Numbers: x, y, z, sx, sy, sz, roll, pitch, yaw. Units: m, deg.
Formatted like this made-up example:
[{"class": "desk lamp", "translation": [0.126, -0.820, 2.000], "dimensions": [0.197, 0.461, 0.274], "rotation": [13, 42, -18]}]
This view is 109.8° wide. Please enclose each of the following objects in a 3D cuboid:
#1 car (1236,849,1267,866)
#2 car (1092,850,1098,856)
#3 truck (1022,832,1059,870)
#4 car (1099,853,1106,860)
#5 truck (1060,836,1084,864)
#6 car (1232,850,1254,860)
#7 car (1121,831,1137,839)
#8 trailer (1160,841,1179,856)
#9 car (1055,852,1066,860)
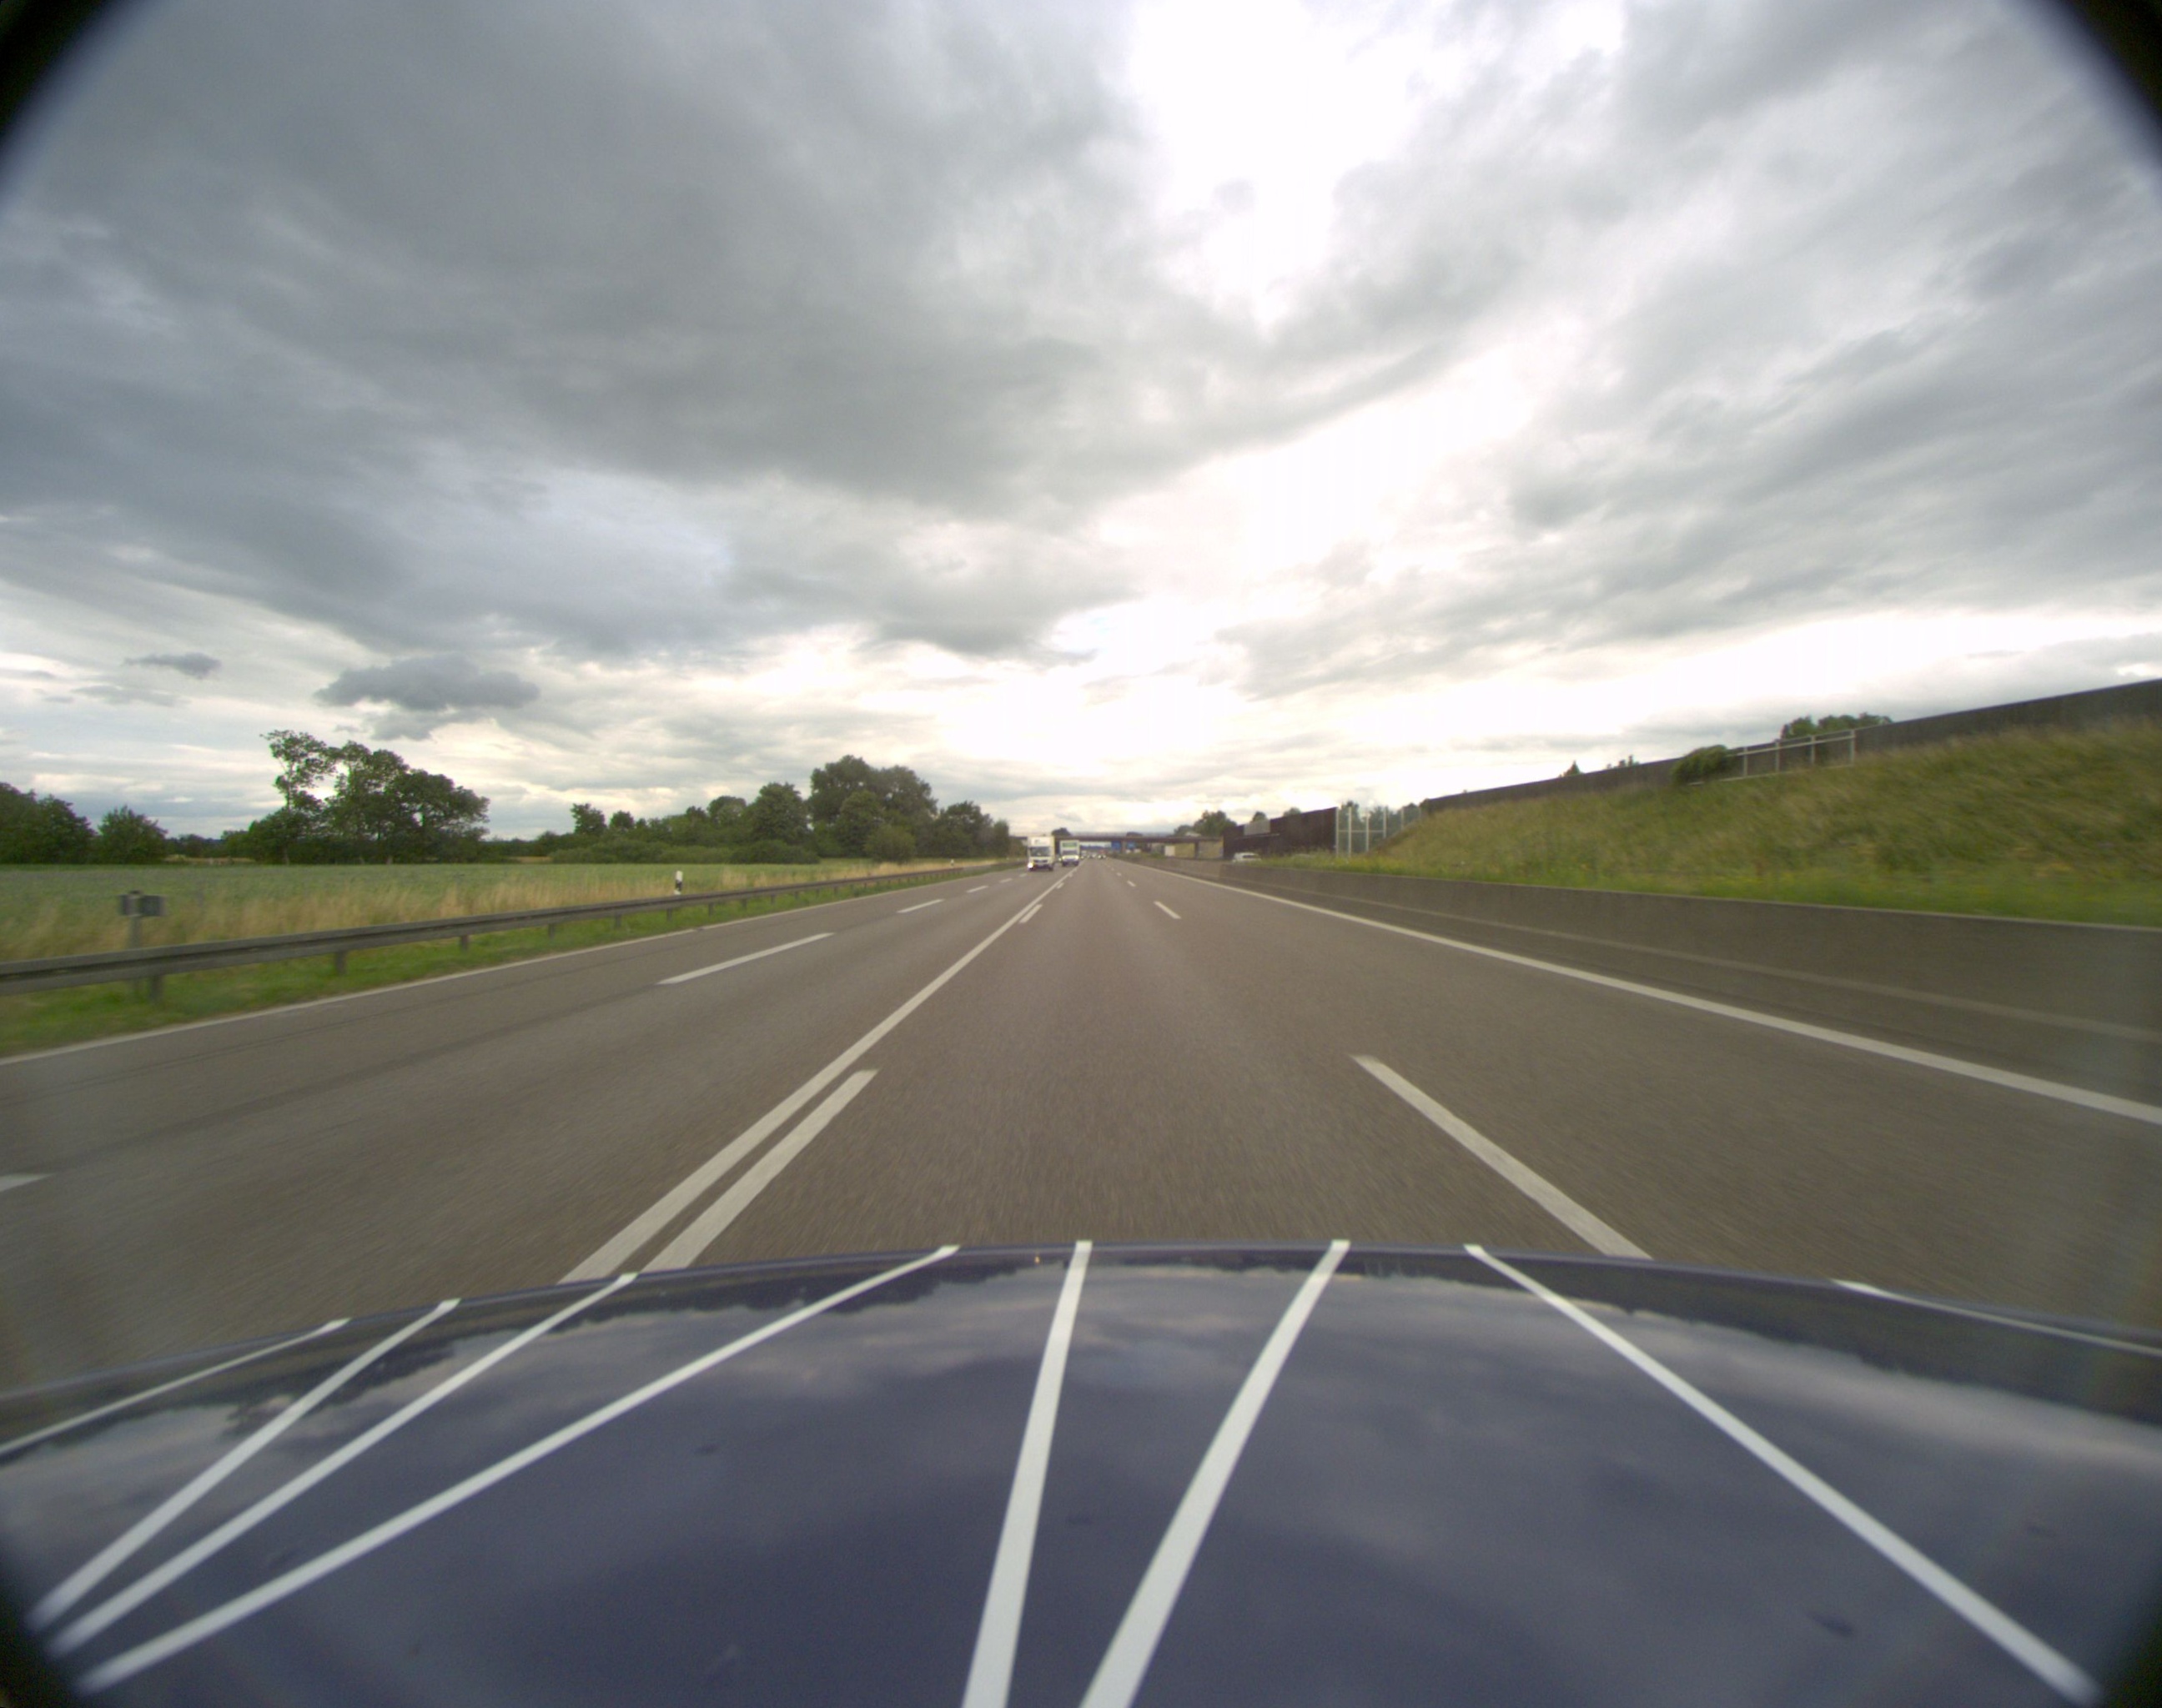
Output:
[{"class": "car", "translation": [14.326, 0.276, 64.039], "dimensions": [1.715, 1.264, 3.699], "rotation": [-2, 0, 0]}, {"class": "car", "translation": [4.392, -0.315, 237.576], "dimensions": [1.998, 2.002, 4.000], "rotation": [0, 0, 1]}, {"class": "truck", "translation": [-3.941, -0.276, 76.287], "dimensions": [3.112, 3.450, 8.890], "rotation": [-2, 0, 0]}, {"class": "car", "translation": [6.146, 0.598, 215.650], "dimensions": [1.998, 2.002, 4.000], "rotation": [0, 0, 1]}, {"class": "truck", "translation": [-1.163, -0.476, 102.057], "dimensions": [2.777, 3.484, 9.062], "rotation": [-2, 0, 1]}, {"class": "car", "translation": [22.291, 0.124, 104.558], "dimensions": [1.998, 1.356, 4.940], "rotation": [-2, 0, 1]}, {"class": "car", "translation": [13.431, -5.231, 211.552], "dimensions": [3.999, 2.002, 1.999], "rotation": [-2, 1, -7]}, {"class": "trailer", "translation": [24.350, -1.593, 209.680], "dimensions": [3.680, 3.957, 12.678], "rotation": [-2, 0, 1]}, {"class": "car", "translation": [-3.971, 0.411, 149.336], "dimensions": [1.922, 1.541, 4.923], "rotation": [0, 0, 0]}]
